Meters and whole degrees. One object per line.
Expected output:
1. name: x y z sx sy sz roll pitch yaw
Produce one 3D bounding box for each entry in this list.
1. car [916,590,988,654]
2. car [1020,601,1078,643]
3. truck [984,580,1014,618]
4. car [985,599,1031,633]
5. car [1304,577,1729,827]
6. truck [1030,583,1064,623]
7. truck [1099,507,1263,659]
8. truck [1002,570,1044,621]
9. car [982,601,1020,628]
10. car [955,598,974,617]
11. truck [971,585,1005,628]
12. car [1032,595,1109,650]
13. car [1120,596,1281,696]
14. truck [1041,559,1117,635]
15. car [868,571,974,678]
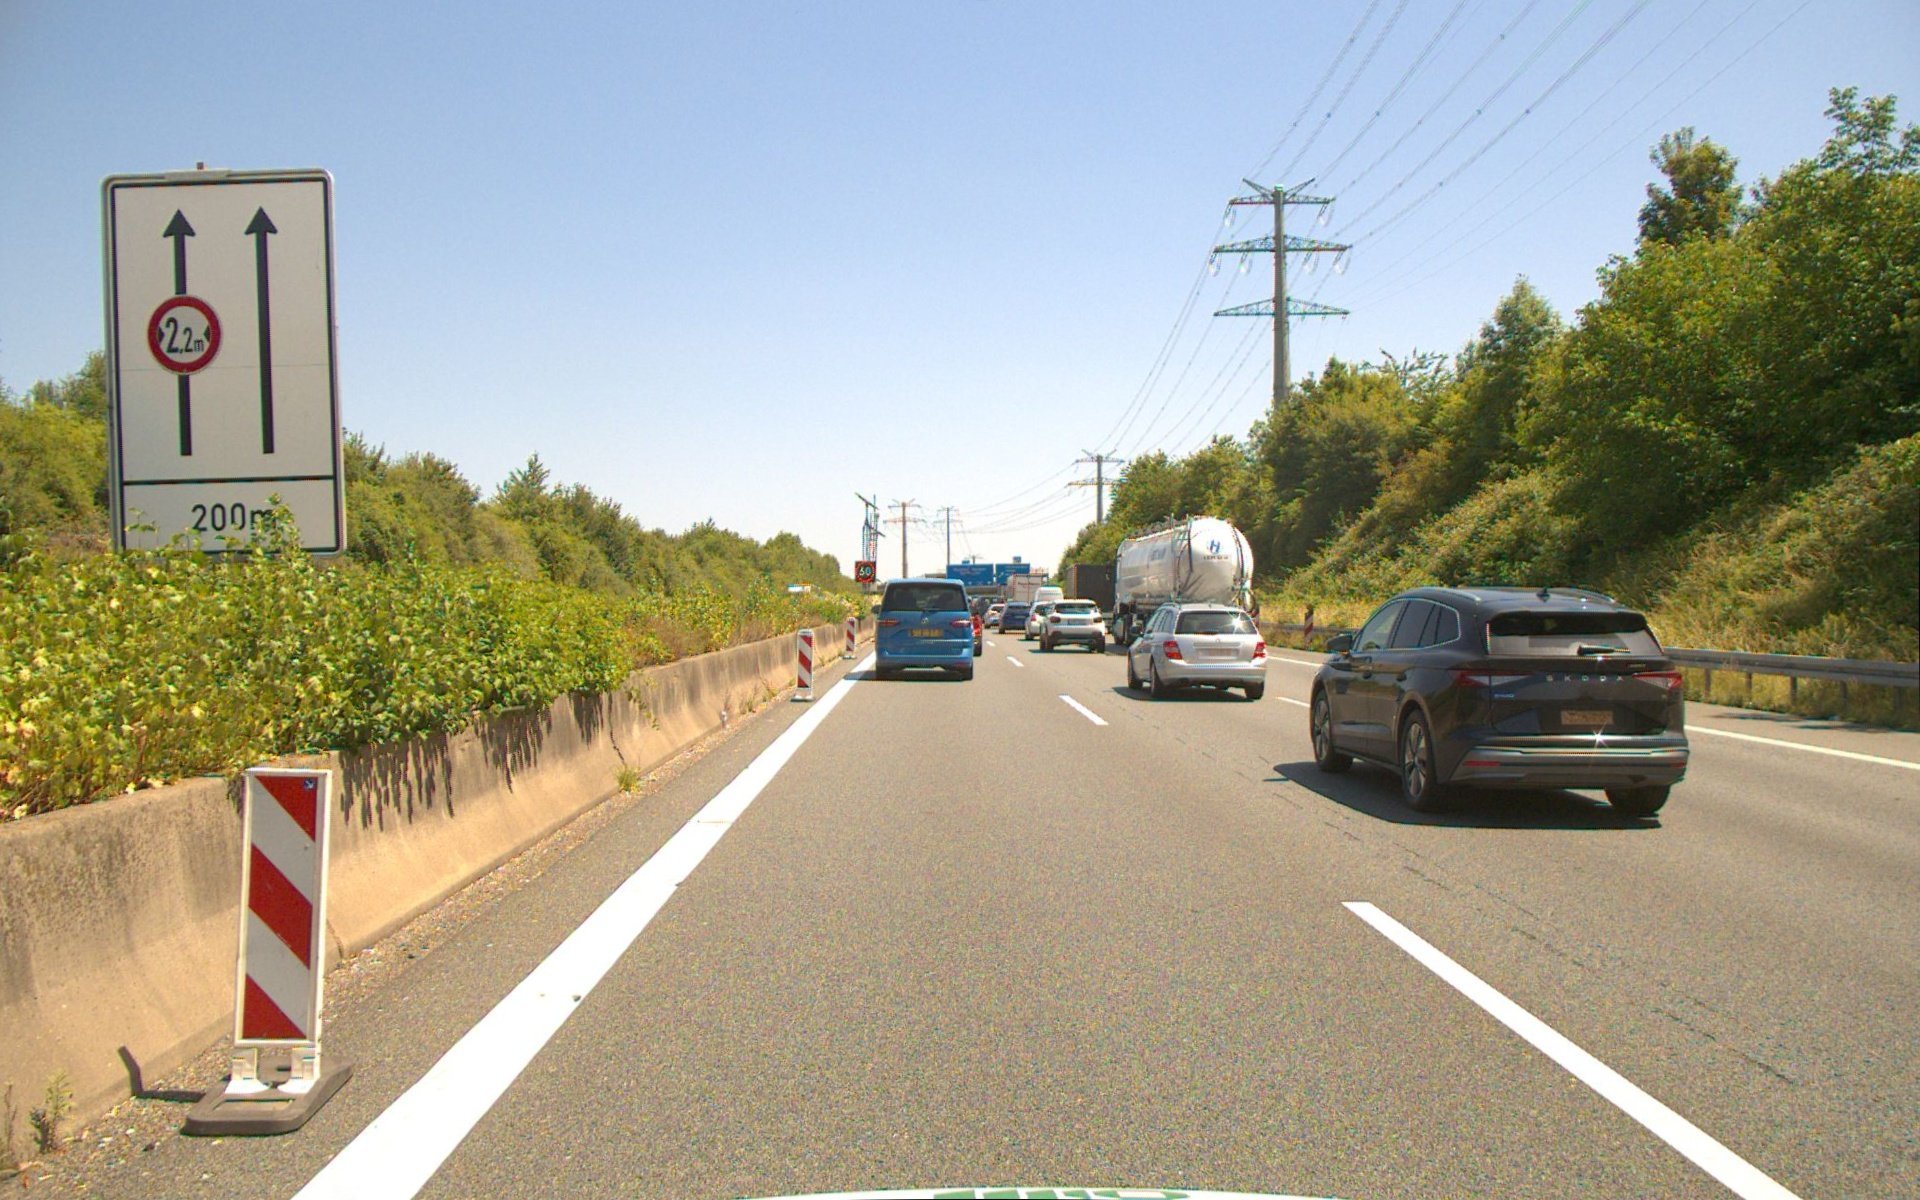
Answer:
1. car: -0.264 0.586 45.863 1.870 1.659 4.382 0 0 -2
2. car: 3.494 0.847 65.481 1.870 1.597 4.381 1 0 -3
3. truck: 4.668 -0.147 198.482 2.879 4.366 12.547 1 0 -2
4. car: 2.268 0.750 79.752 1.870 1.542 4.381 1 0 -3
5. car: 4.157 0.673 13.191 1.791 1.643 4.429 1 0 -2
6. truck: 6.201 0.236 118.677 1.953 2.771 5.678 1 0 -2
7. truck: 6.759 -0.437 53.636 2.591 4.143 16.434 1 0 -2
8. truck: 5.551 -0.337 148.747 2.879 4.366 12.547 1 0 -2
9. car: 2.370 0.851 96.923 1.870 1.542 4.381 1 0 -3
10. car: 0.467 0.865 185.668 1.953 2.049 3.998 1 0 -2
11. truck: 1.855 0.440 110.789 1.953 2.771 5.678 1 0 -2
12. car: 3.287 0.654 49.747 1.870 1.534 3.919 1 0 -3
13. car: 3.808 0.691 26.930 1.784 1.462 4.381 1 0 -3
14. truck: 6.026 -0.108 85.643 2.591 3.601 12.547 1 0 -2
15. car: -0.828 0.458 32.435 1.834 1.912 4.379 1 0 -4
